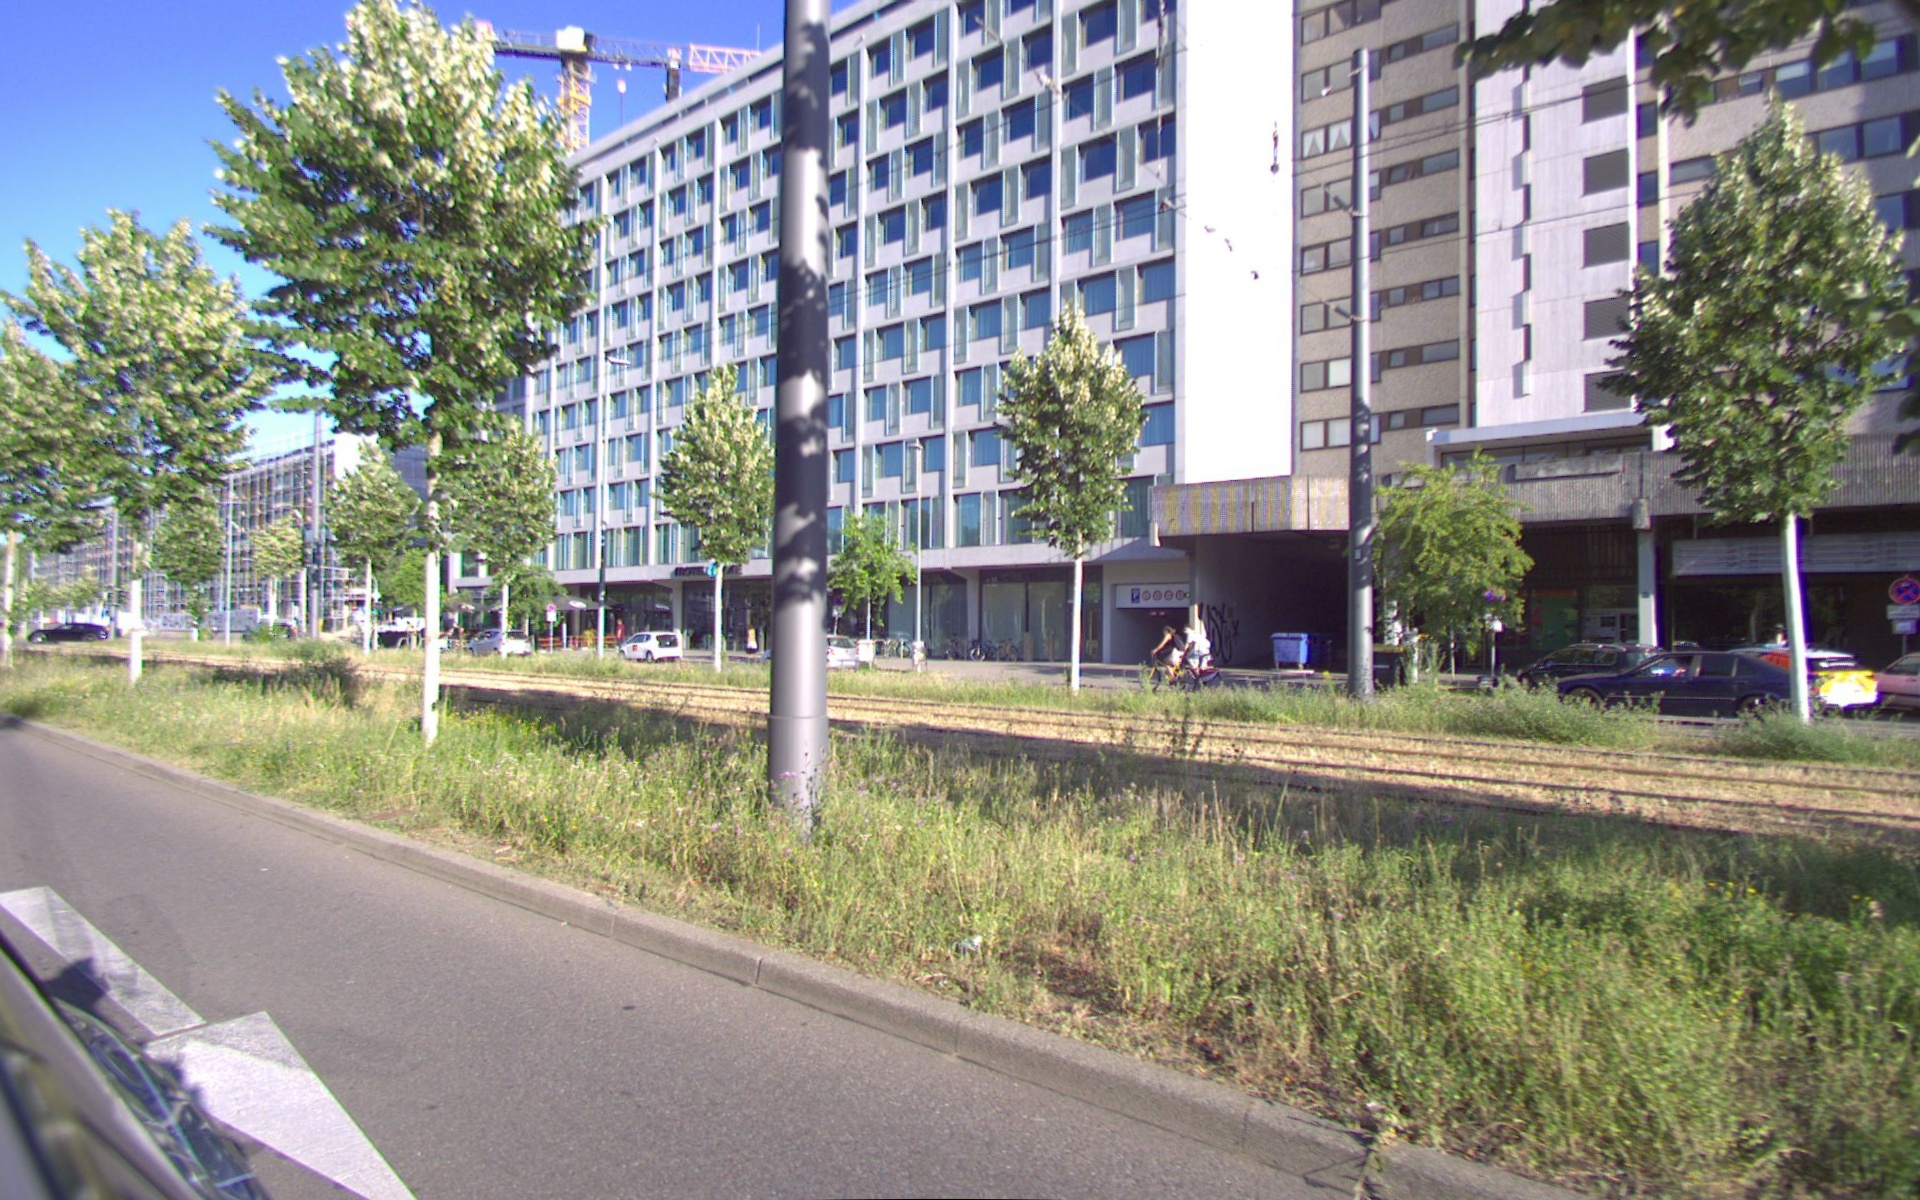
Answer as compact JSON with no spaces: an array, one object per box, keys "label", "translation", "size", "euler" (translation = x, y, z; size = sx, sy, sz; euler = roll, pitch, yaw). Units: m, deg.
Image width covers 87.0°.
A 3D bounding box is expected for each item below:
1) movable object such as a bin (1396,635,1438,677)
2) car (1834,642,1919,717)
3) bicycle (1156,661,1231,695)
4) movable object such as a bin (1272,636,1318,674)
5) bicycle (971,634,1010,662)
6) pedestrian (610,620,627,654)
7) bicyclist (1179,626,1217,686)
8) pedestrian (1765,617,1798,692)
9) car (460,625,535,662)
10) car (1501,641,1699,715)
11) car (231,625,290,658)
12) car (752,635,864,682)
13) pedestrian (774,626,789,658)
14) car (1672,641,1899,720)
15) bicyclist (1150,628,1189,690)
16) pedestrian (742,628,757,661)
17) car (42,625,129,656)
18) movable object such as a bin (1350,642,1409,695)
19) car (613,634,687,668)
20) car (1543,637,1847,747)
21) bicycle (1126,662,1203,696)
[{"label":"movable object such as a bin","translation":[15.400,1.880,34.103],"size":[1.088,1.382,1.108],"euler":[-1,-2,37]},{"label":"car","translation":[20.908,1.707,21.232],"size":[1.596,1.455,3.798],"euler":[-1,0,-6]},{"label":"bicycle","translation":[6.615,2.206,28.781],"size":[2.099,0.869,0.432],"euler":[-1,-2,37]},{"label":"movable object such as a bin","translation":[12.212,1.976,36.929],"size":[1.231,1.344,1.373],"euler":[-1,-2,37]},{"label":"bicycle","translation":[1.360,2.148,45.263],"size":[1.712,1.239,0.390],"euler":[-1,-2,29]},{"label":"pedestrian","translation":[-20.180,2.180,59.798],"size":[0.725,2.029,0.614],"euler":[-1,-3,39]},{"label":"bicyclist","translation":[6.754,1.585,28.685],"size":[0.917,1.669,0.533],"euler":[-1,-3,36]},{"label":"pedestrian","translation":[22.646,1.488,27.905],"size":[0.653,2.029,0.542],"euler":[-1,-2,38]},{"label":"car","translation":[-21.822,1.999,47.725],"size":[3.478,1.603,1.852],"euler":[0,0,38]},{"label":"car","translation":[15.701,1.851,25.152],"size":[1.596,1.455,4.555],"euler":[-1,0,-7]},{"label":"car","translation":[-41.139,2.403,59.472],"size":[3.788,1.765,1.852],"euler":[0,0,38]},{"label":"car","translation":[-5.230,1.957,34.602],"size":[3.874,1.388,1.594],"euler":[0,0,38]},{"label":"pedestrian","translation":[-9.333,2.205,52.976],"size":[0.596,1.648,0.473],"euler":[-1,-3,39]},{"label":"car","translation":[18.539,1.742,22.977],"size":[1.762,1.455,3.808],"euler":[-1,0,-7]},{"label":"bicyclist","translation":[5.750,1.610,27.820],"size":[0.917,1.669,0.533],"euler":[-1,-3,36]},{"label":"pedestrian","translation":[-10.524,2.230,50.538],"size":[0.596,1.648,0.473],"euler":[-1,-3,39]},{"label":"car","translation":[-54.725,2.519,63.395],"size":[3.734,1.765,1.878],"euler":[-1,0,-6]},{"label":"movable object such as a bin","translation":[11.461,1.848,27.632],"size":[1.169,1.382,1.373],"euler":[-1,-2,37]},{"label":"car","translation":[-14.991,2.427,48.925],"size":[3.385,1.477,1.852],"euler":[0,0,38]},{"label":"car","translation":[13.767,1.628,19.205],"size":[4.483,1.715,1.852],"euler":[0,0,38]},{"label":"bicycle","translation":[5.627,2.162,27.902],"size":[2.099,0.869,0.432],"euler":[-1,-2,37]}]
